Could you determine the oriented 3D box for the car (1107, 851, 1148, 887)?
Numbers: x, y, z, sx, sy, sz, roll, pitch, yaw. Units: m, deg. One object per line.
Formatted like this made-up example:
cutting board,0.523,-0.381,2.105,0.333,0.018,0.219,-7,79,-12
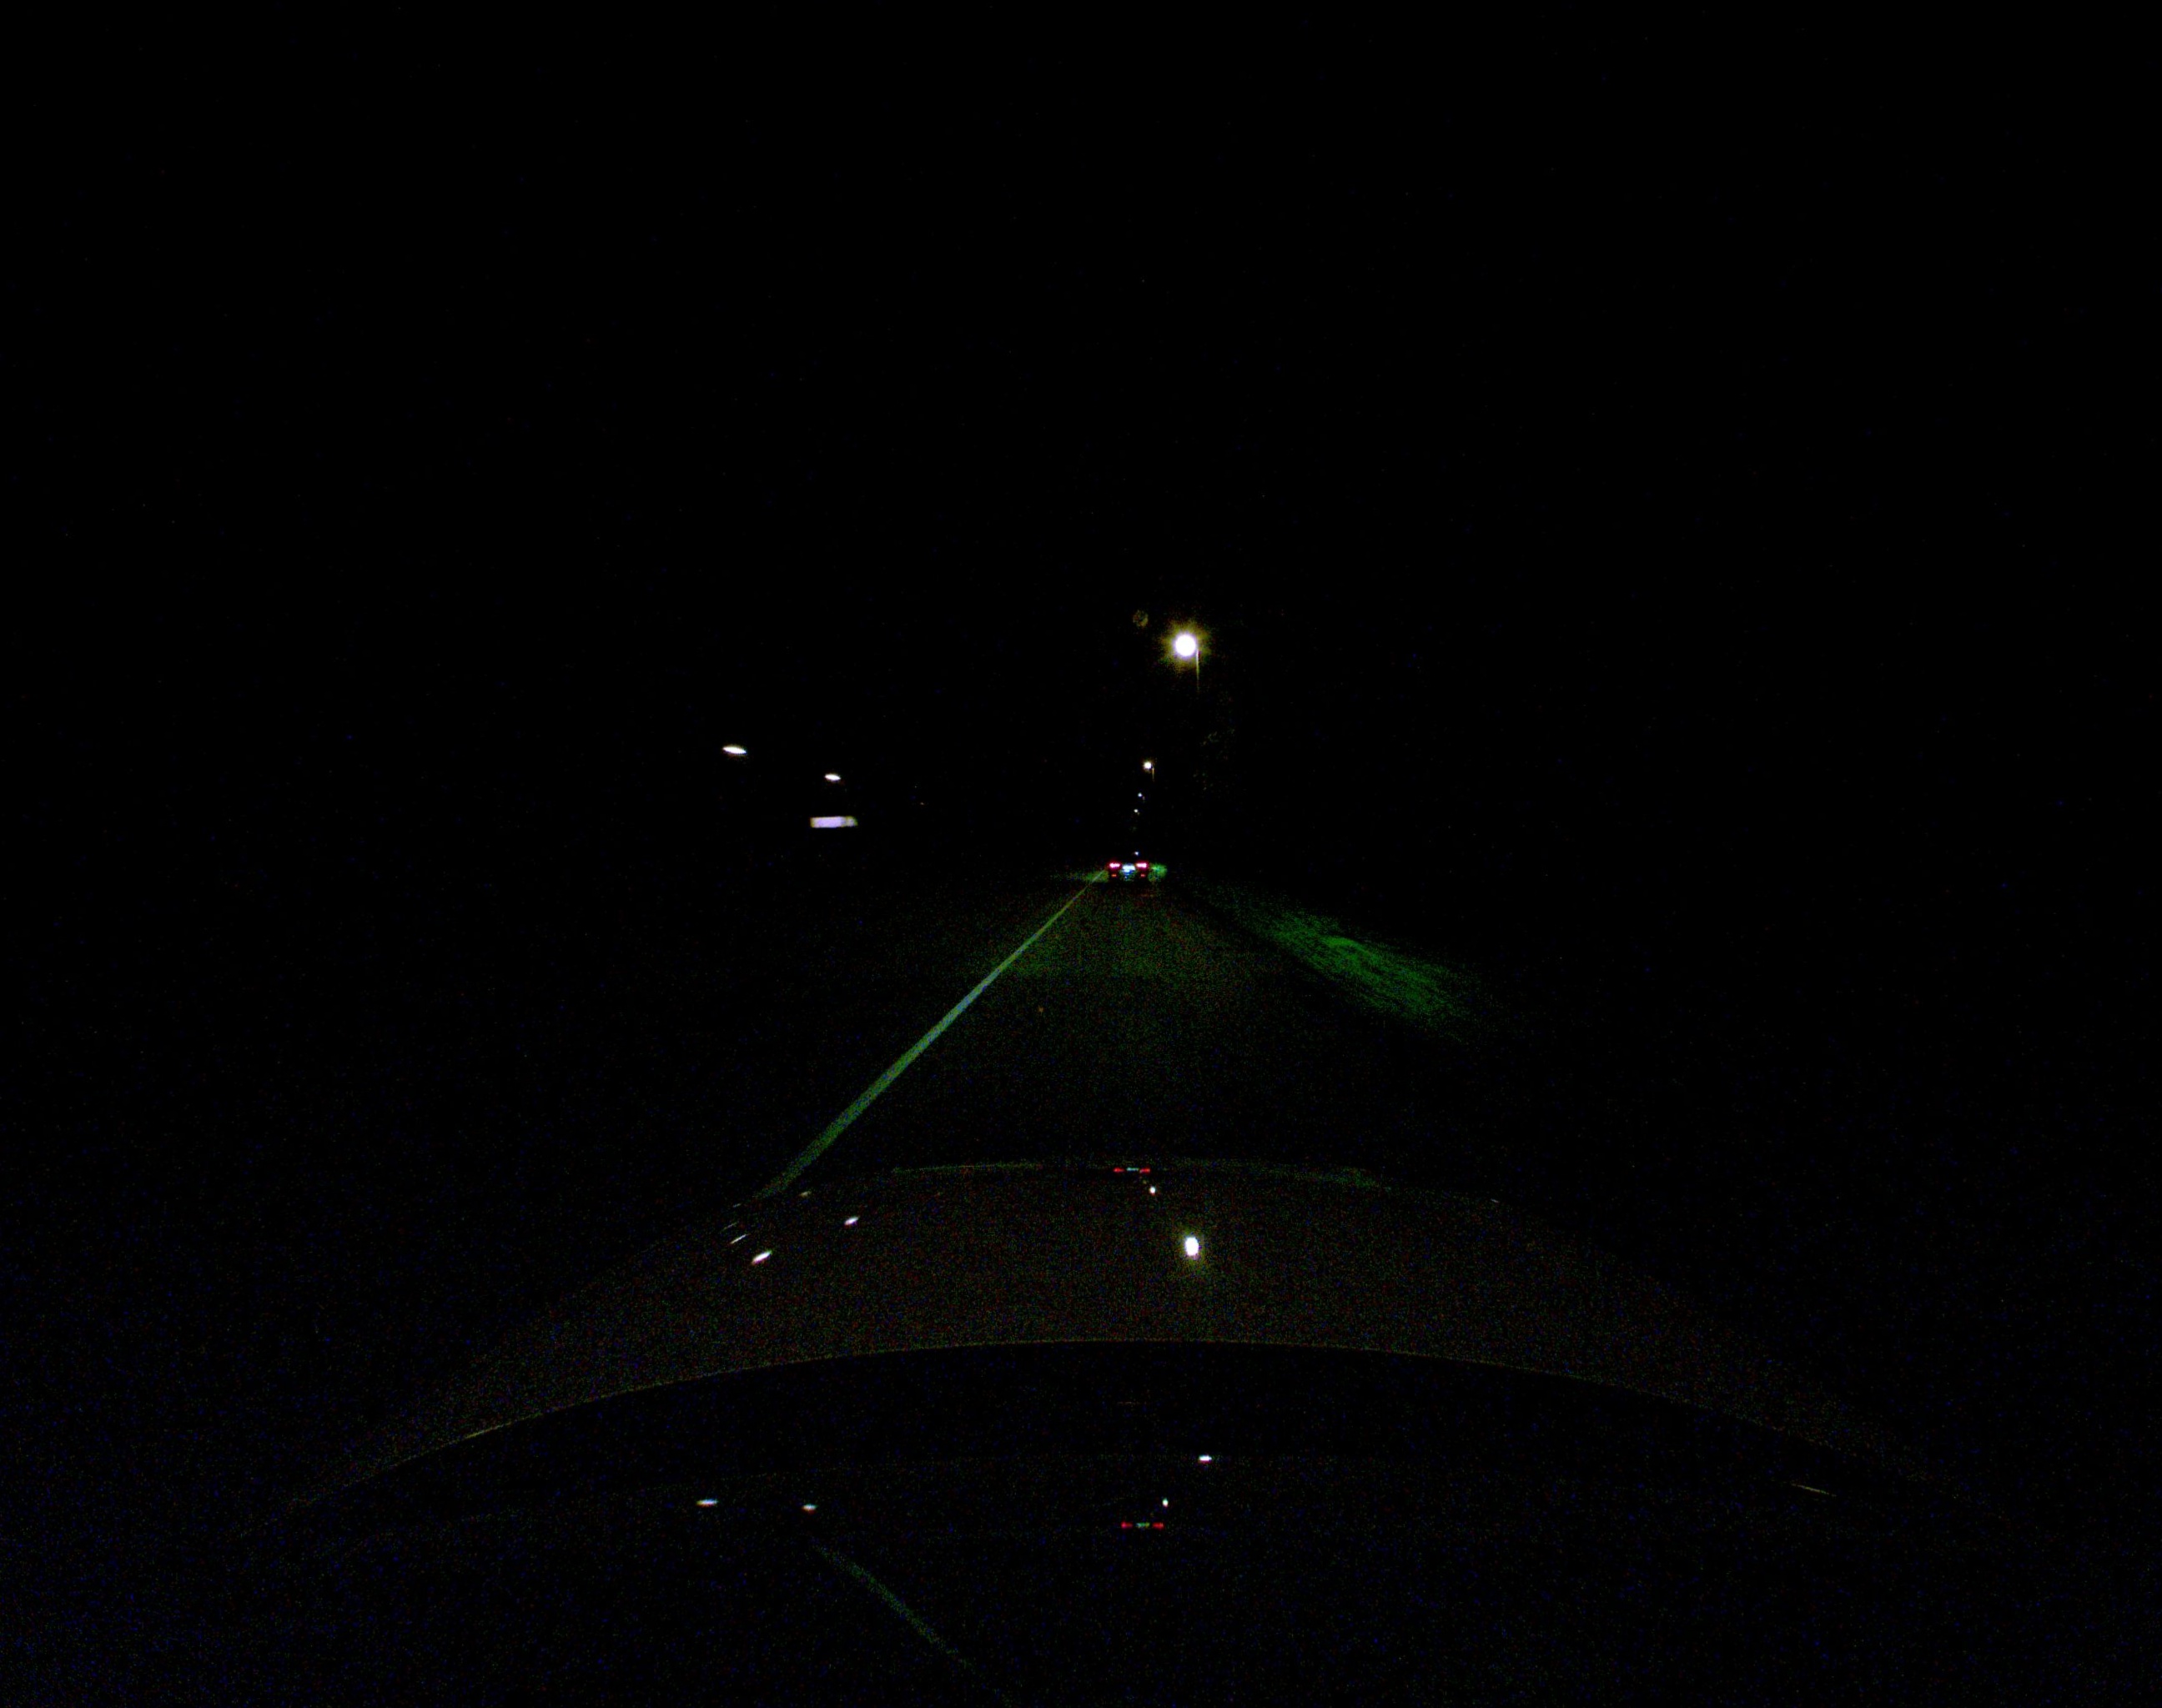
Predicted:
car,2.143,0.669,38.409,1.808,1.573,3.945,-1,0,2
